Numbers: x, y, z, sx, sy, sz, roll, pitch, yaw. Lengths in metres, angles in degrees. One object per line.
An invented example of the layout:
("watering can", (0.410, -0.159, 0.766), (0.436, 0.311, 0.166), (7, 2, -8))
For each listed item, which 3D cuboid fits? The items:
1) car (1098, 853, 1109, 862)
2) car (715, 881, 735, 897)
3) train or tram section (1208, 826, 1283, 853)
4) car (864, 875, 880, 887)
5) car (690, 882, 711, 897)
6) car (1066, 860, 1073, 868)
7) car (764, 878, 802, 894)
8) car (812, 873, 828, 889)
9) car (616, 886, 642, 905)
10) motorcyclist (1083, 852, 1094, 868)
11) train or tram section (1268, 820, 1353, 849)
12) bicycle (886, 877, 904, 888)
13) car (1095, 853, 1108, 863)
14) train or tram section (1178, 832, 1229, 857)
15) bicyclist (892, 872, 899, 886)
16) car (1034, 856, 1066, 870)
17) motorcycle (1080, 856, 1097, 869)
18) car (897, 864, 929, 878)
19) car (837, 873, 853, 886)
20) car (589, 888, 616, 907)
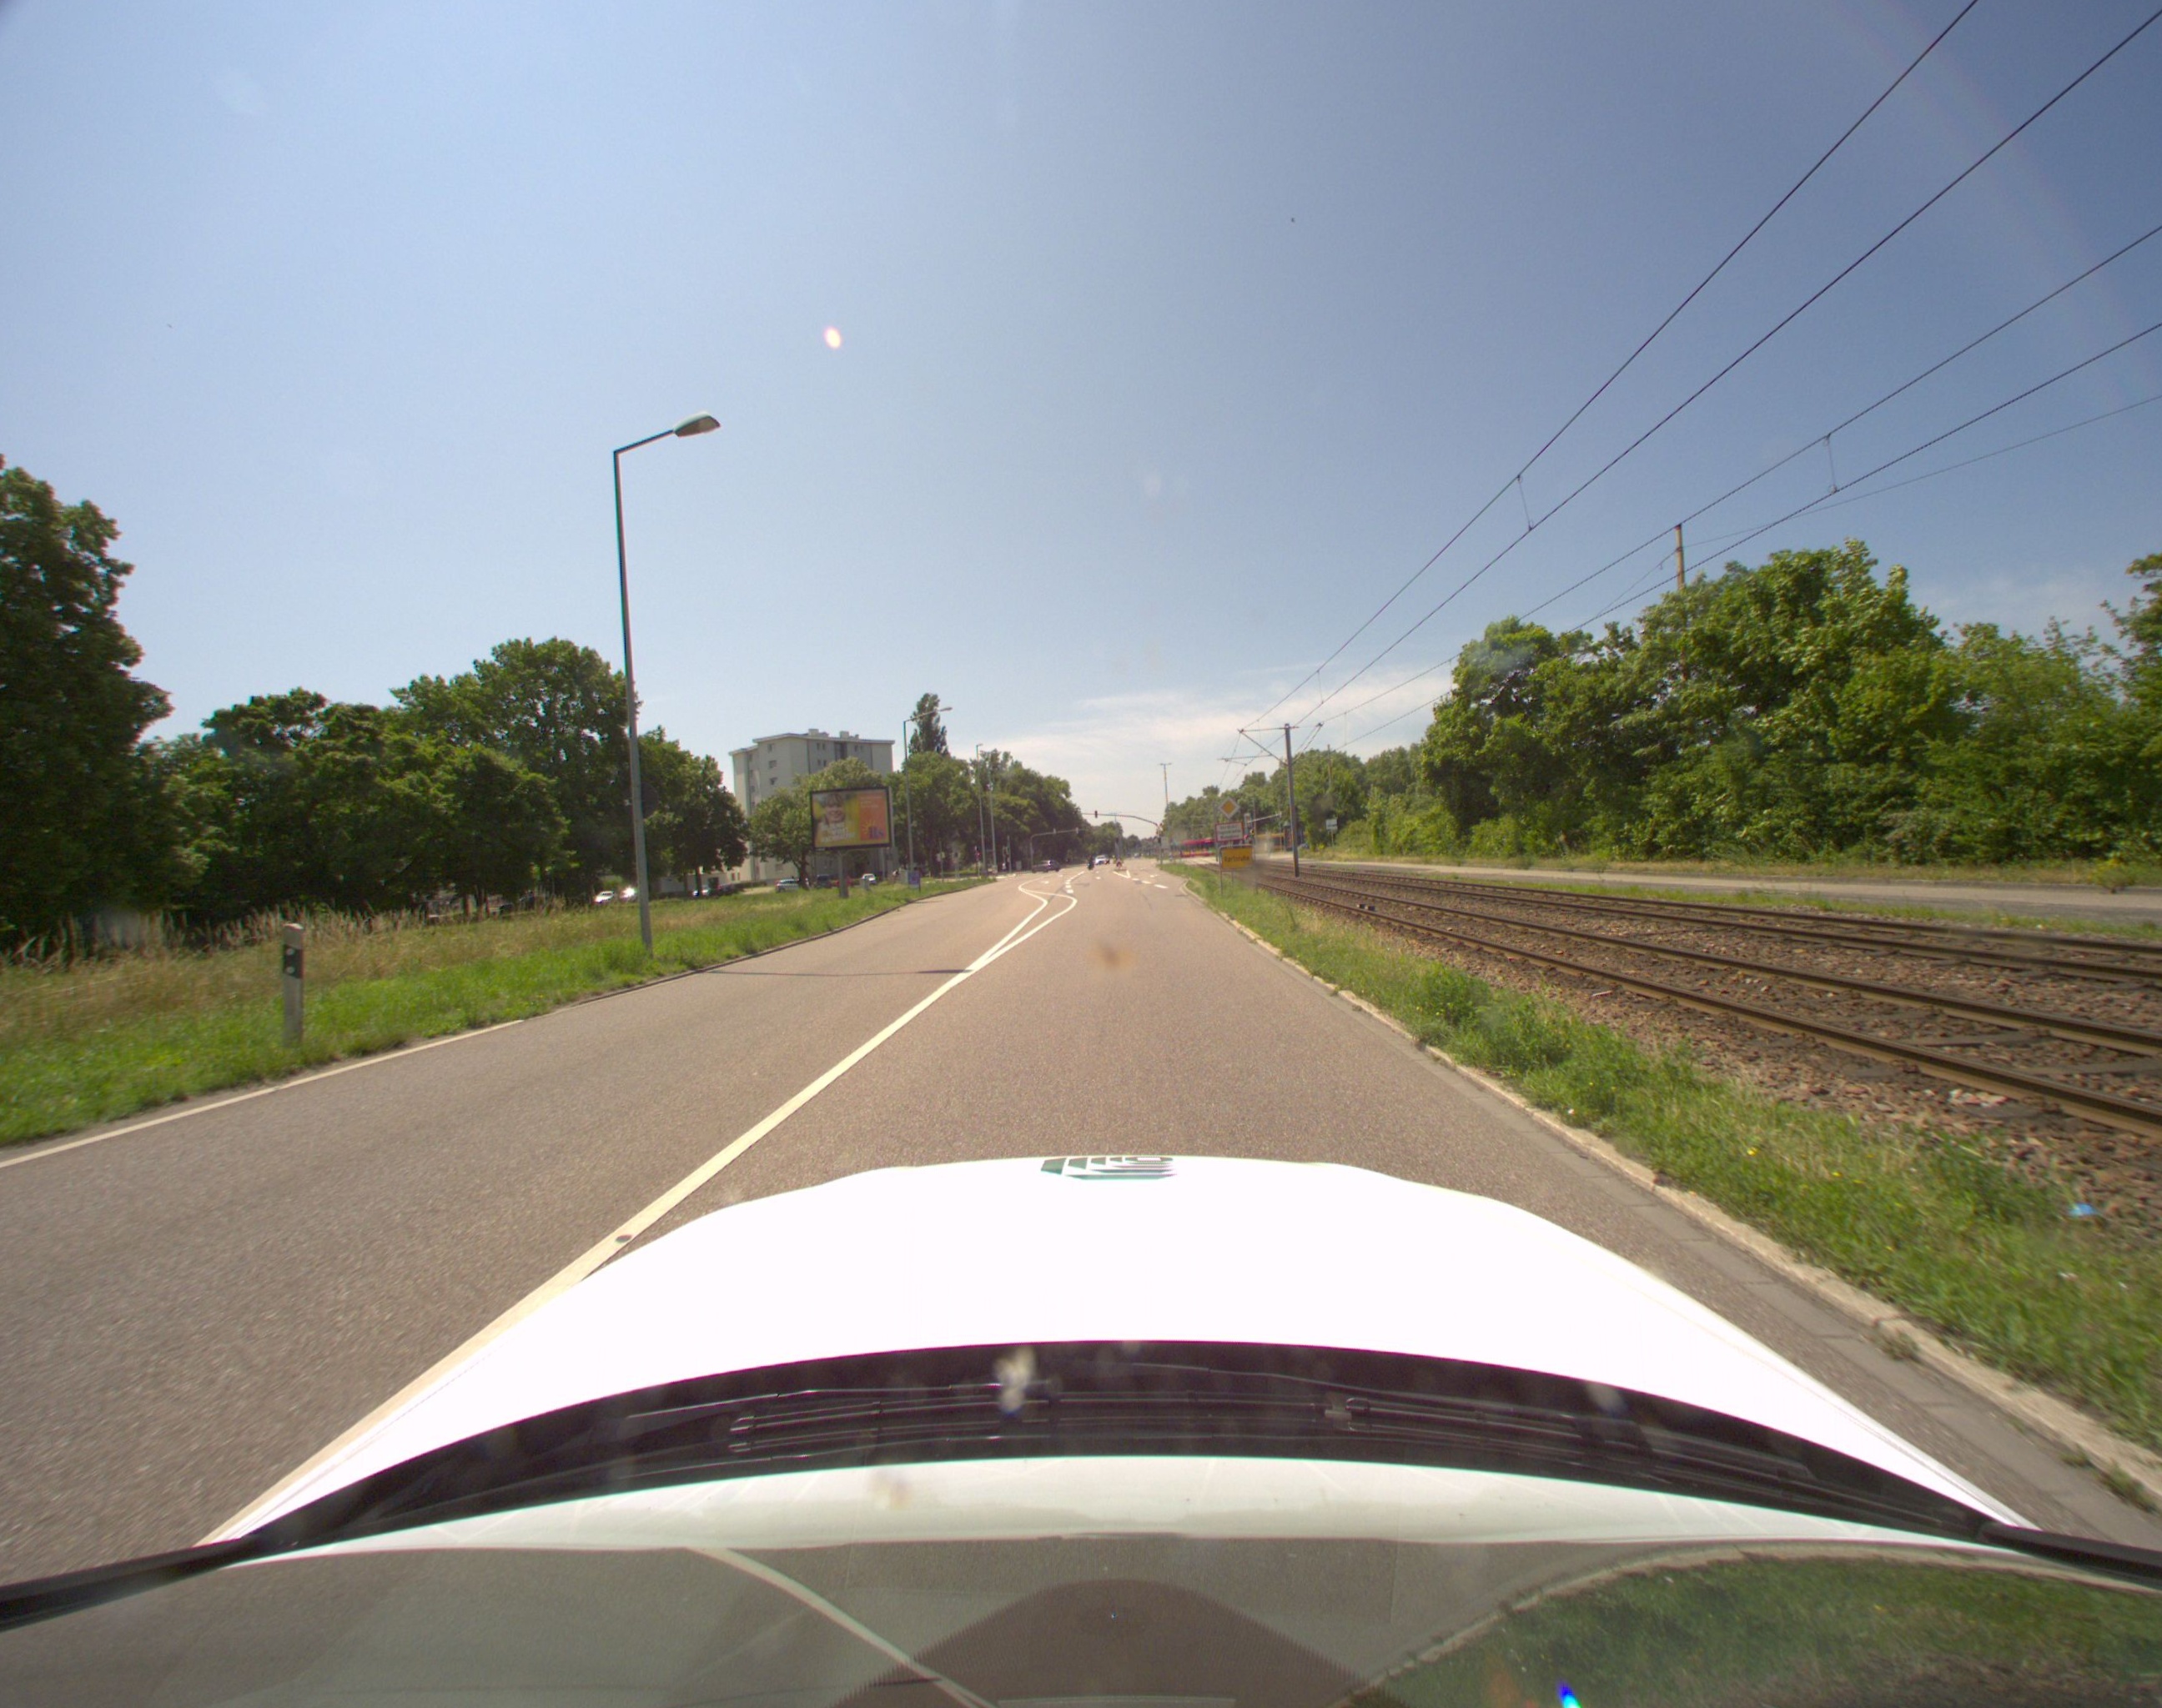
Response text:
("car", (3.892, 0.630, 142.619), (1.703, 1.365, 3.869), (-4, 0, 4))
("car", (-43.084, 4.240, 98.574), (1.852, 1.711, 3.974), (-3, 0, -19))
("train or tram section", (30.389, -2.554, 151.038), (13.280, 3.812, 2.942), (-5, -4, 35))
("car", (-26.715, 3.443, 103.939), (1.629, 1.380, 3.975), (-3, 0, -18))
("car", (-45.390, 4.190, 97.228), (1.693, 1.562, 3.813), (-4, 0, -19))
("car", (-3.205, 2.773, 226.334), (1.987, 2.014, 4.000), (-1, -1, 0))
("car", (-33.101, 3.517, 90.543), (3.900, 1.468, 1.763), (-4, 0, -22))
("car", (-32.592, 3.332, 101.592), (1.710, 1.800, 3.974), (-3, 0, -19))
("car", (-52.101, 4.794, 93.889), (1.852, 1.947, 3.974), (-3, 0, -19))
("motorcyclist", (0.807, 0.619, 87.717), (0.783, 1.643, 1.218), (-3, 0, 24))
("train or tram section", (40.634, -3.430, 144.588), (13.862, 3.919, 2.942), (-5, -4, 30))
("bicycle", (-21.029, 3.218, 92.236), (1.870, 1.093, 0.642), (-2, -1, -20))
("car", (3.431, 0.631, 135.284), (1.777, 1.628, 3.869), (-4, 0, 4))
("train or tram section", (23.763, -1.748, 159.402), (2.929, 3.812, 12.961), (-1, -3, -25))
("bicyclist", (-21.034, 2.778, 92.259), (0.666, 1.537, 0.627), (-3, -1, -19))
("car", (-3.780, 1.076, 97.130), (1.918, 1.499, 4.586), (-3, 0, -29))
("motorcycle", (0.867, 0.883, 87.819), (0.839, 1.255, 2.463), (-3, 0, 25))
("car", (-26.605, 2.707, 128.951), (1.769, 1.768, 4.577), (-4, 0, 43))
("car", (-29.676, 3.186, 102.467), (1.619, 1.464, 3.982), (-3, 0, -13))
("car", (-54.885, 4.934, 93.455), (1.852, 1.947, 3.974), (-3, 0, -19))
